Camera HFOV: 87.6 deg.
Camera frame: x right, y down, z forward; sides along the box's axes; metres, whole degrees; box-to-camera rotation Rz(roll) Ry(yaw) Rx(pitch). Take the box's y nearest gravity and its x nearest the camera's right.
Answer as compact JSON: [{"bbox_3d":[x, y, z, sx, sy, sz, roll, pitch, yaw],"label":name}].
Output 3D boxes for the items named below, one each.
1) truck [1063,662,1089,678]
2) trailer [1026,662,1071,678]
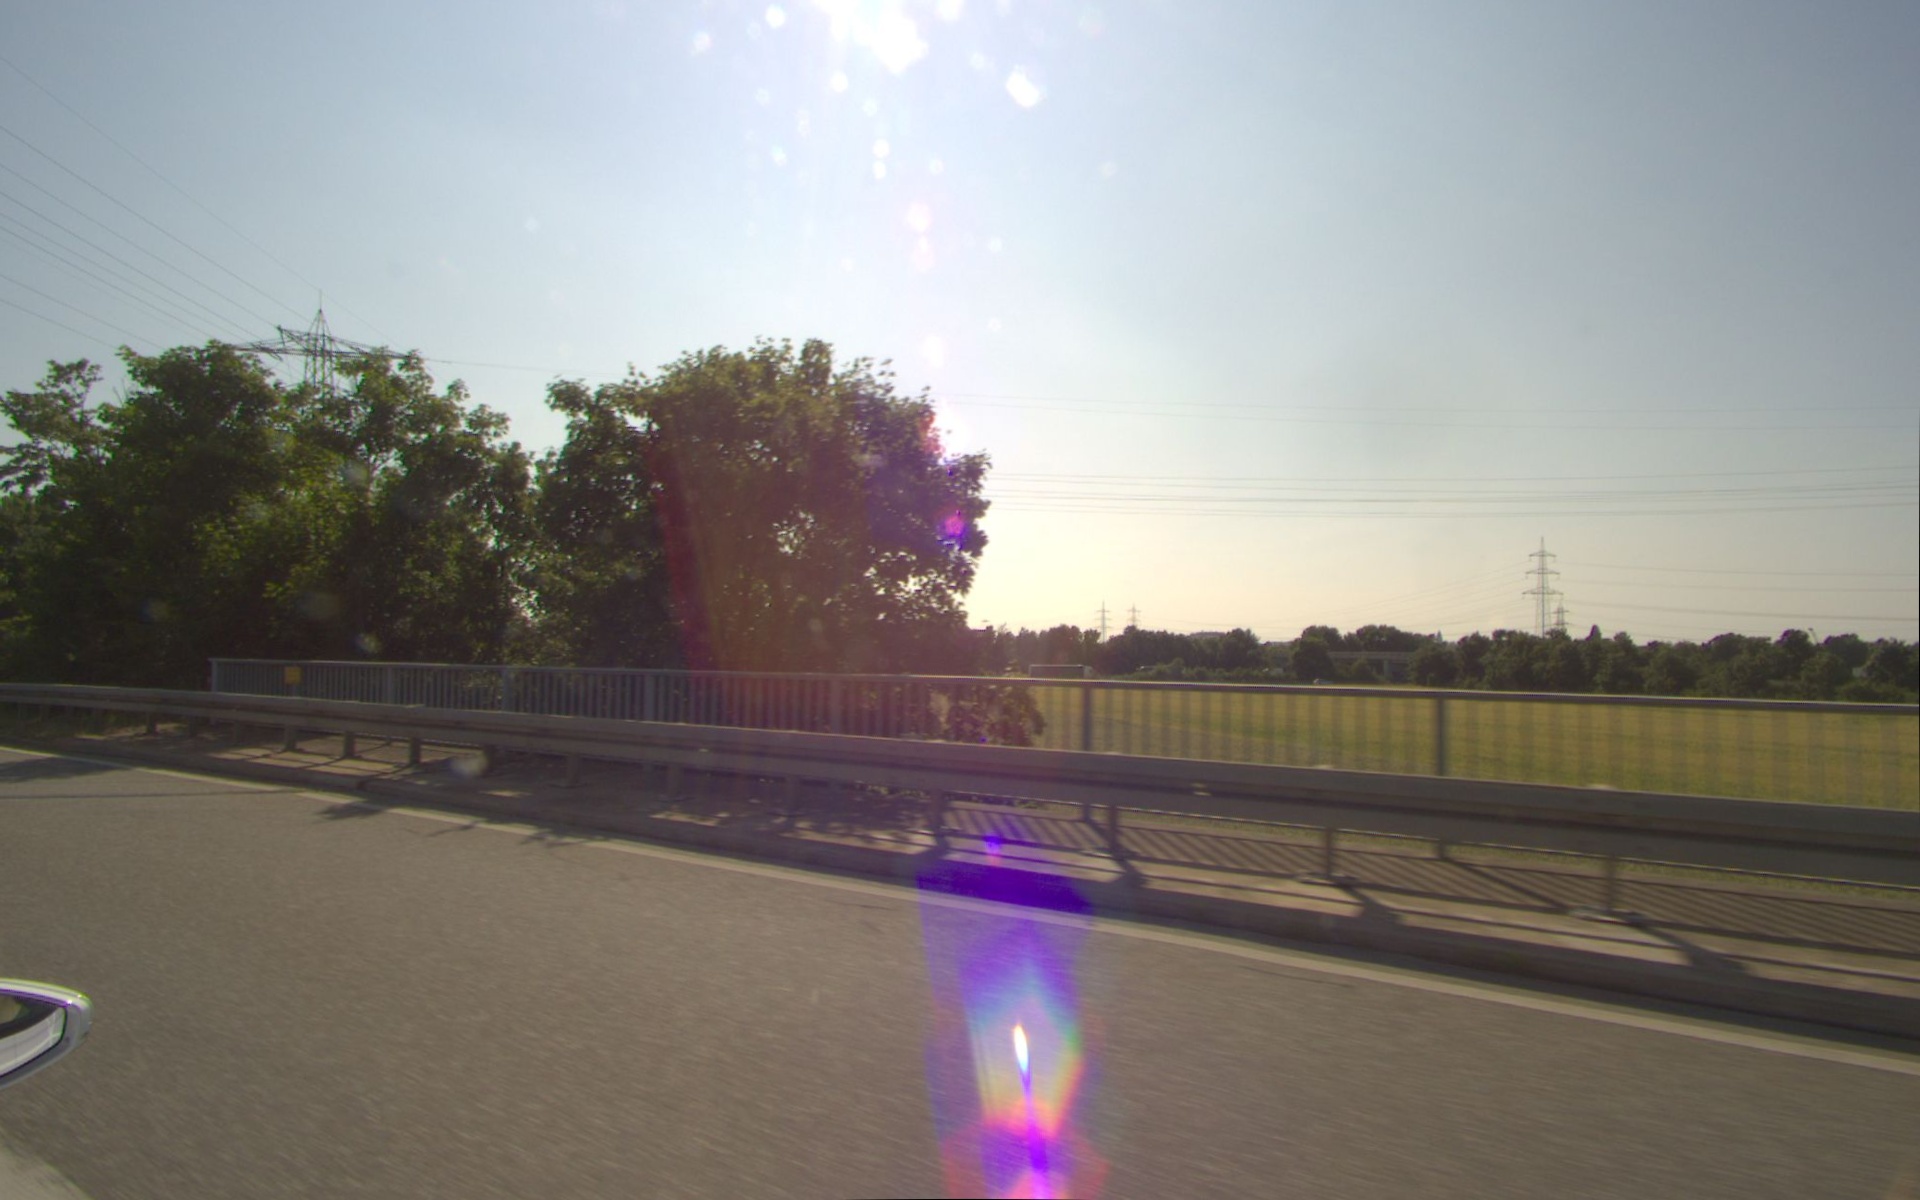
[{"bbox_3d":[29.131,17.623,251.476,6.000,3.767,2.856,0,-1,-7],"label":"truck"},{"bbox_3d":[22.146,17.614,250.776,10.875,3.767,3.159,0,-1,-7],"label":"trailer"}]
